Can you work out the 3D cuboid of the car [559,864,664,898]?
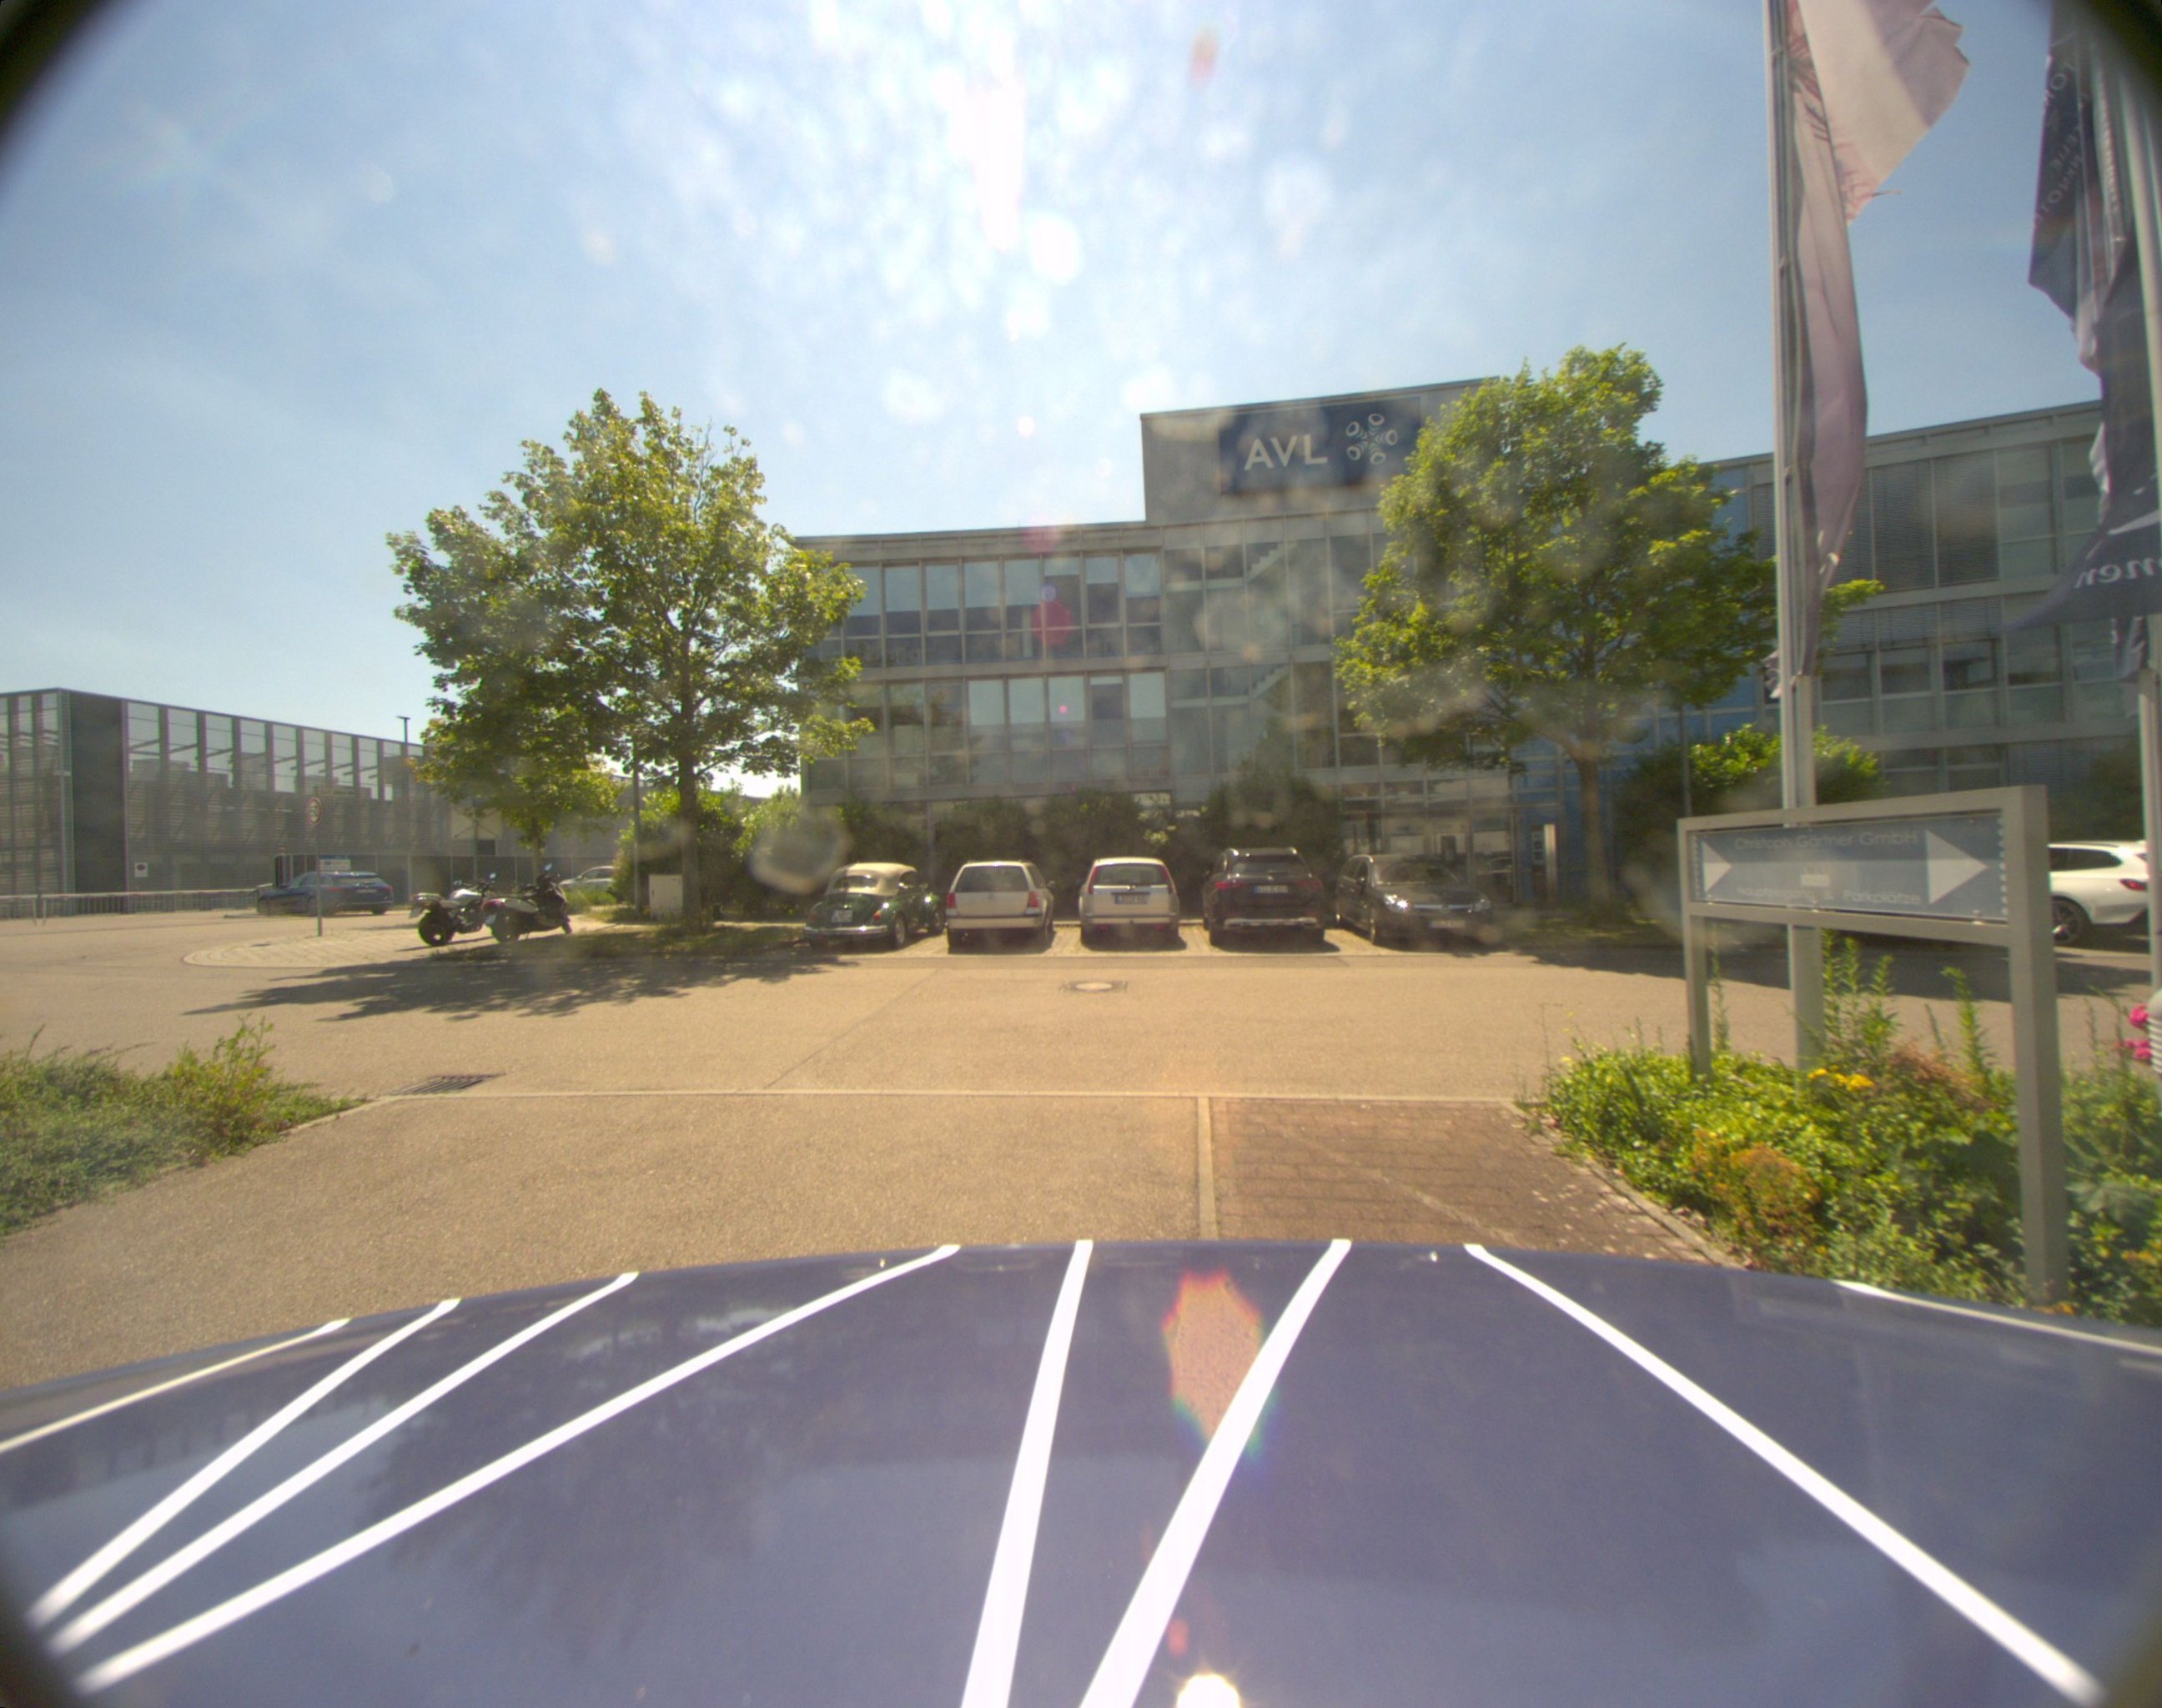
[{"bbox_3d":[-21.272,1.216,34.416,4.404,1.467,1.783,-1,0,24],"label":"car"}]

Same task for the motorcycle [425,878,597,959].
[{"bbox_3d":[-10.631,1.143,14.378,0.873,1.252,2.836,-1,1,6],"label":"motorcycle"}]

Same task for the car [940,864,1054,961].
[{"bbox_3d":[-1.404,0.962,13.914,1.642,1.444,3.600,0,1,1],"label":"car"}]

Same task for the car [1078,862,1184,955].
[{"bbox_3d":[0.842,0.914,14.261,1.731,1.444,3.600,-1,1,1],"label":"car"}]

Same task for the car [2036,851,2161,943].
[{"bbox_3d":[17.493,0.667,11.302,1.750,1.392,4.174,-1,0,9],"label":"car"}]

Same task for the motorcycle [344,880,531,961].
[{"bbox_3d":[-11.976,1.180,14.333,0.873,1.252,2.836,-1,1,6],"label":"motorcycle"}]

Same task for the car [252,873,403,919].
[{"bbox_3d":[-25.028,1.381,25.249,4.436,1.401,1.862,-1,0,21],"label":"car"}]

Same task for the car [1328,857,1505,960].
[{"bbox_3d":[5.755,0.836,13.624,1.729,1.475,4.399,-1,0,8],"label":"car"}]

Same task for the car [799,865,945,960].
[{"bbox_3d":[-3.696,0.976,14.018,1.521,1.437,3.420,0,1,4],"label":"car"}]

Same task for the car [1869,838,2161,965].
[{"bbox_3d":[15.031,0.595,11.731,1.831,1.628,4.174,-1,0,9],"label":"car"}]

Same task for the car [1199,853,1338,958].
[{"bbox_3d":[3.227,0.803,13.801,1.937,1.593,3.861,-1,1,6],"label":"car"}]

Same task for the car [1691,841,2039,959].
[{"bbox_3d":[12.530,0.636,12.625,1.831,1.628,4.173,-1,0,7],"label":"car"}]
